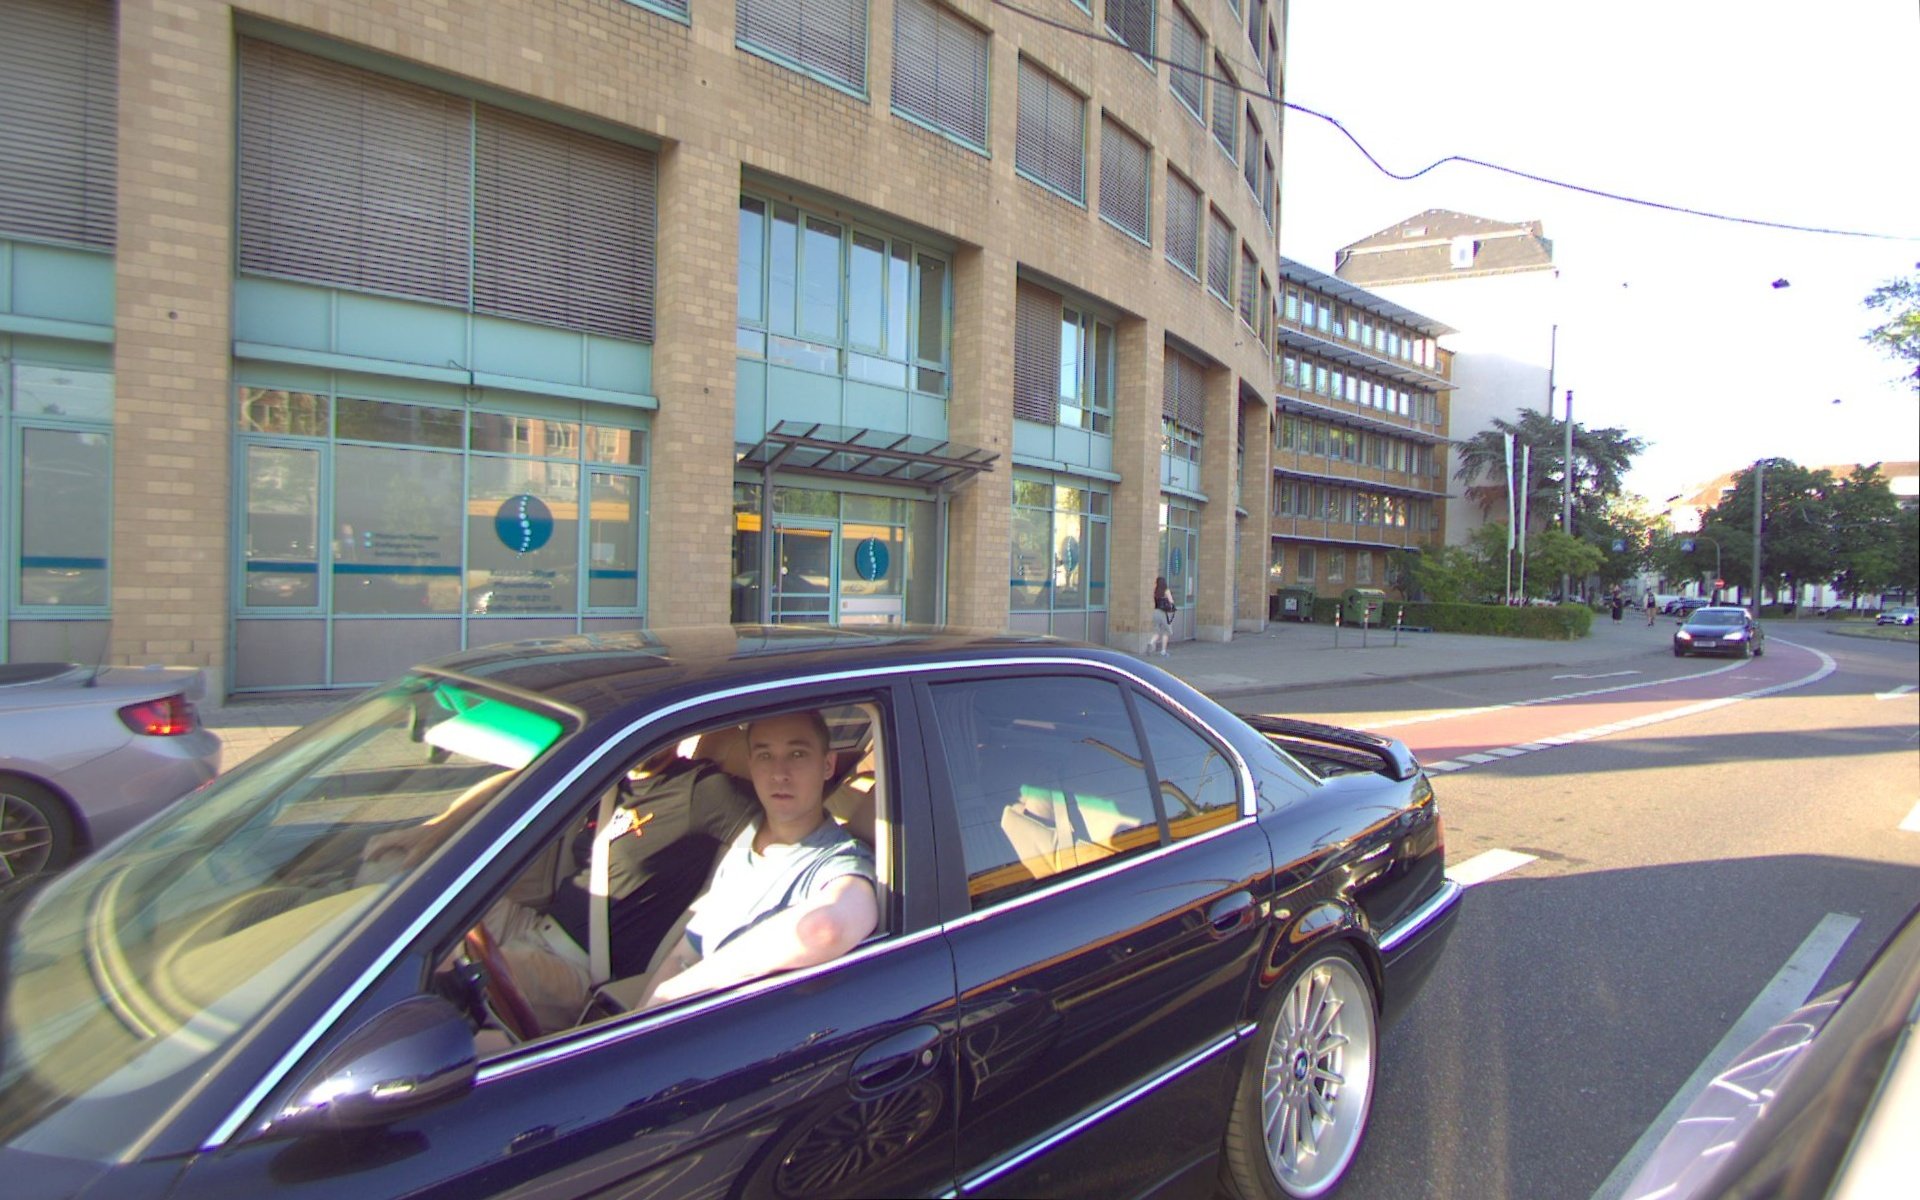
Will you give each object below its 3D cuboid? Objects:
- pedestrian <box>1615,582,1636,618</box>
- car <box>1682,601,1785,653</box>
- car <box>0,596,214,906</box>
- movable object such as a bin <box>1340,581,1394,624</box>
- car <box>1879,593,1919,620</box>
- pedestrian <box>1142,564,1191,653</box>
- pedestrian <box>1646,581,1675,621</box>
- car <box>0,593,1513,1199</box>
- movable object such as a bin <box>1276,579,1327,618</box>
[{"bbox_3d":[34.292,-0.013,52.126,0.711,1.830,0.728,0,1,-41],"label":"pedestrian"},{"bbox_3d":[22.924,0.737,29.940,3.932,1.404,1.756,0,0,-42],"label":"car"},{"bbox_3d":[-5.921,0.688,4.456,4.152,1.403,1.747,0,0,-40],"label":"car"},{"bbox_3d":[14.857,0.077,36.949,1.311,1.477,1.424,0,1,-45],"label":"movable object such as a bin"},{"bbox_3d":[67.272,0.481,70.953,3.921,1.771,2.002,1,1,-3],"label":"car"},{"bbox_3d":[4.053,0.159,19.851,0.702,1.702,0.626,0,1,-44],"label":"pedestrian"},{"bbox_3d":[34.914,0.033,50.456,0.900,1.918,1.118,1,1,21],"label":"pedestrian"},{"bbox_3d":[-0.726,0.700,2.317,4.656,1.402,1.997,0,1,-41],"label":"car"},{"bbox_3d":[13.340,-0.075,39.493,1.310,1.477,1.425,0,1,-43],"label":"movable object such as a bin"}]
